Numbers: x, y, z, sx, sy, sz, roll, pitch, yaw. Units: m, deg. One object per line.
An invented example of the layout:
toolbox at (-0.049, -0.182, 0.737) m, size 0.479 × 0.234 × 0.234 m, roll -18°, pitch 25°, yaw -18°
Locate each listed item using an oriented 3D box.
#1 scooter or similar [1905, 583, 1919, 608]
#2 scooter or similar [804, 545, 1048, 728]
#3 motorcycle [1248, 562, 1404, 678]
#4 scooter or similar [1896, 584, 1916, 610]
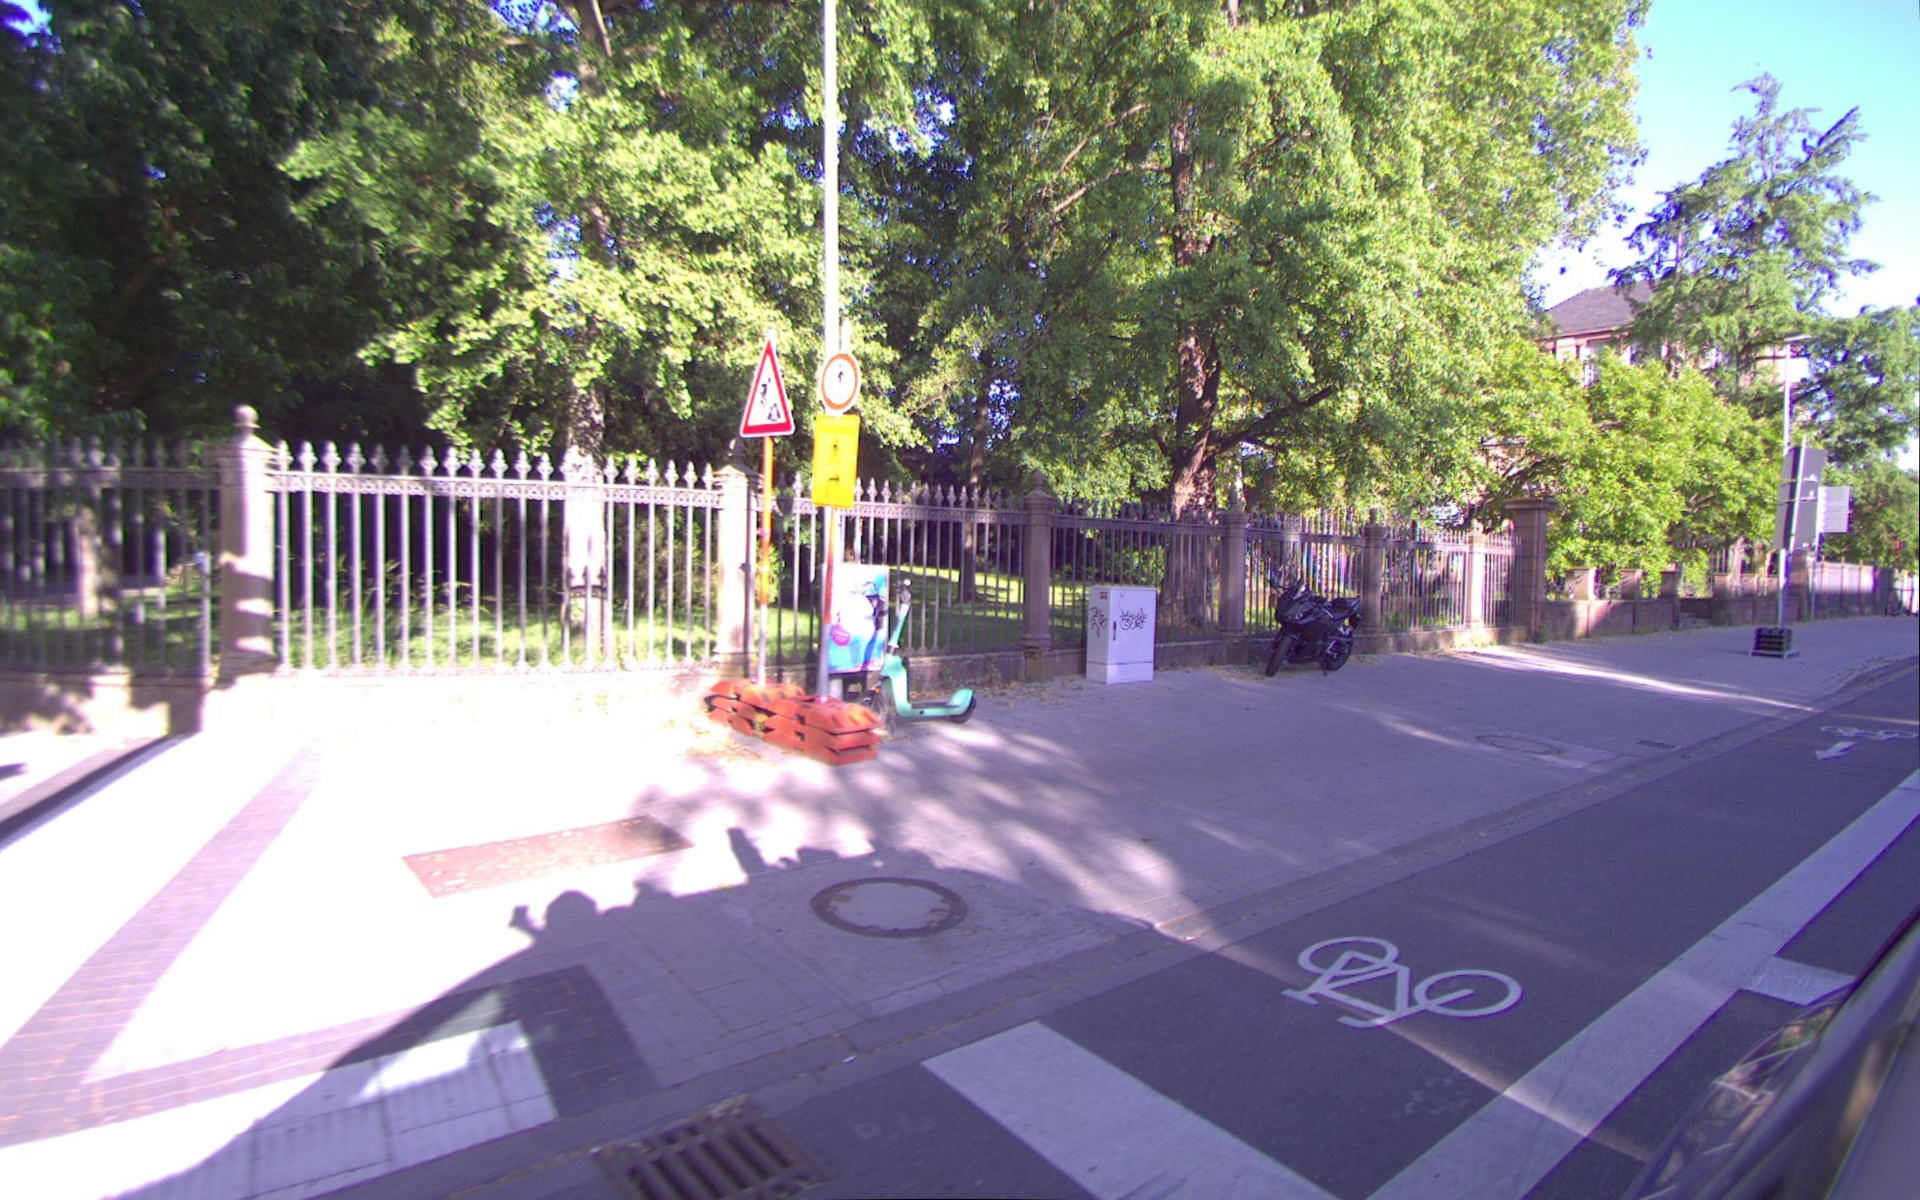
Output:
scooter or similar at (41.306, -0.209, 43.769) m, size 1.747 × 1.054 × 0.416 m, roll -1°, pitch 1°, yaw -40°
scooter or similar at (-0.246, 0.238, 8.168) m, size 1.804 × 1.269 × 0.795 m, roll -1°, pitch 6°, yaw -40°
motorcycle at (4.564, 0.204, 12.560) m, size 2.002 × 1.309 × 0.906 m, roll -1°, pitch 3°, yaw -40°
scooter or similar at (39.564, -0.148, 42.319) m, size 1.747 × 1.054 × 0.416 m, roll -1°, pitch 1°, yaw -40°
